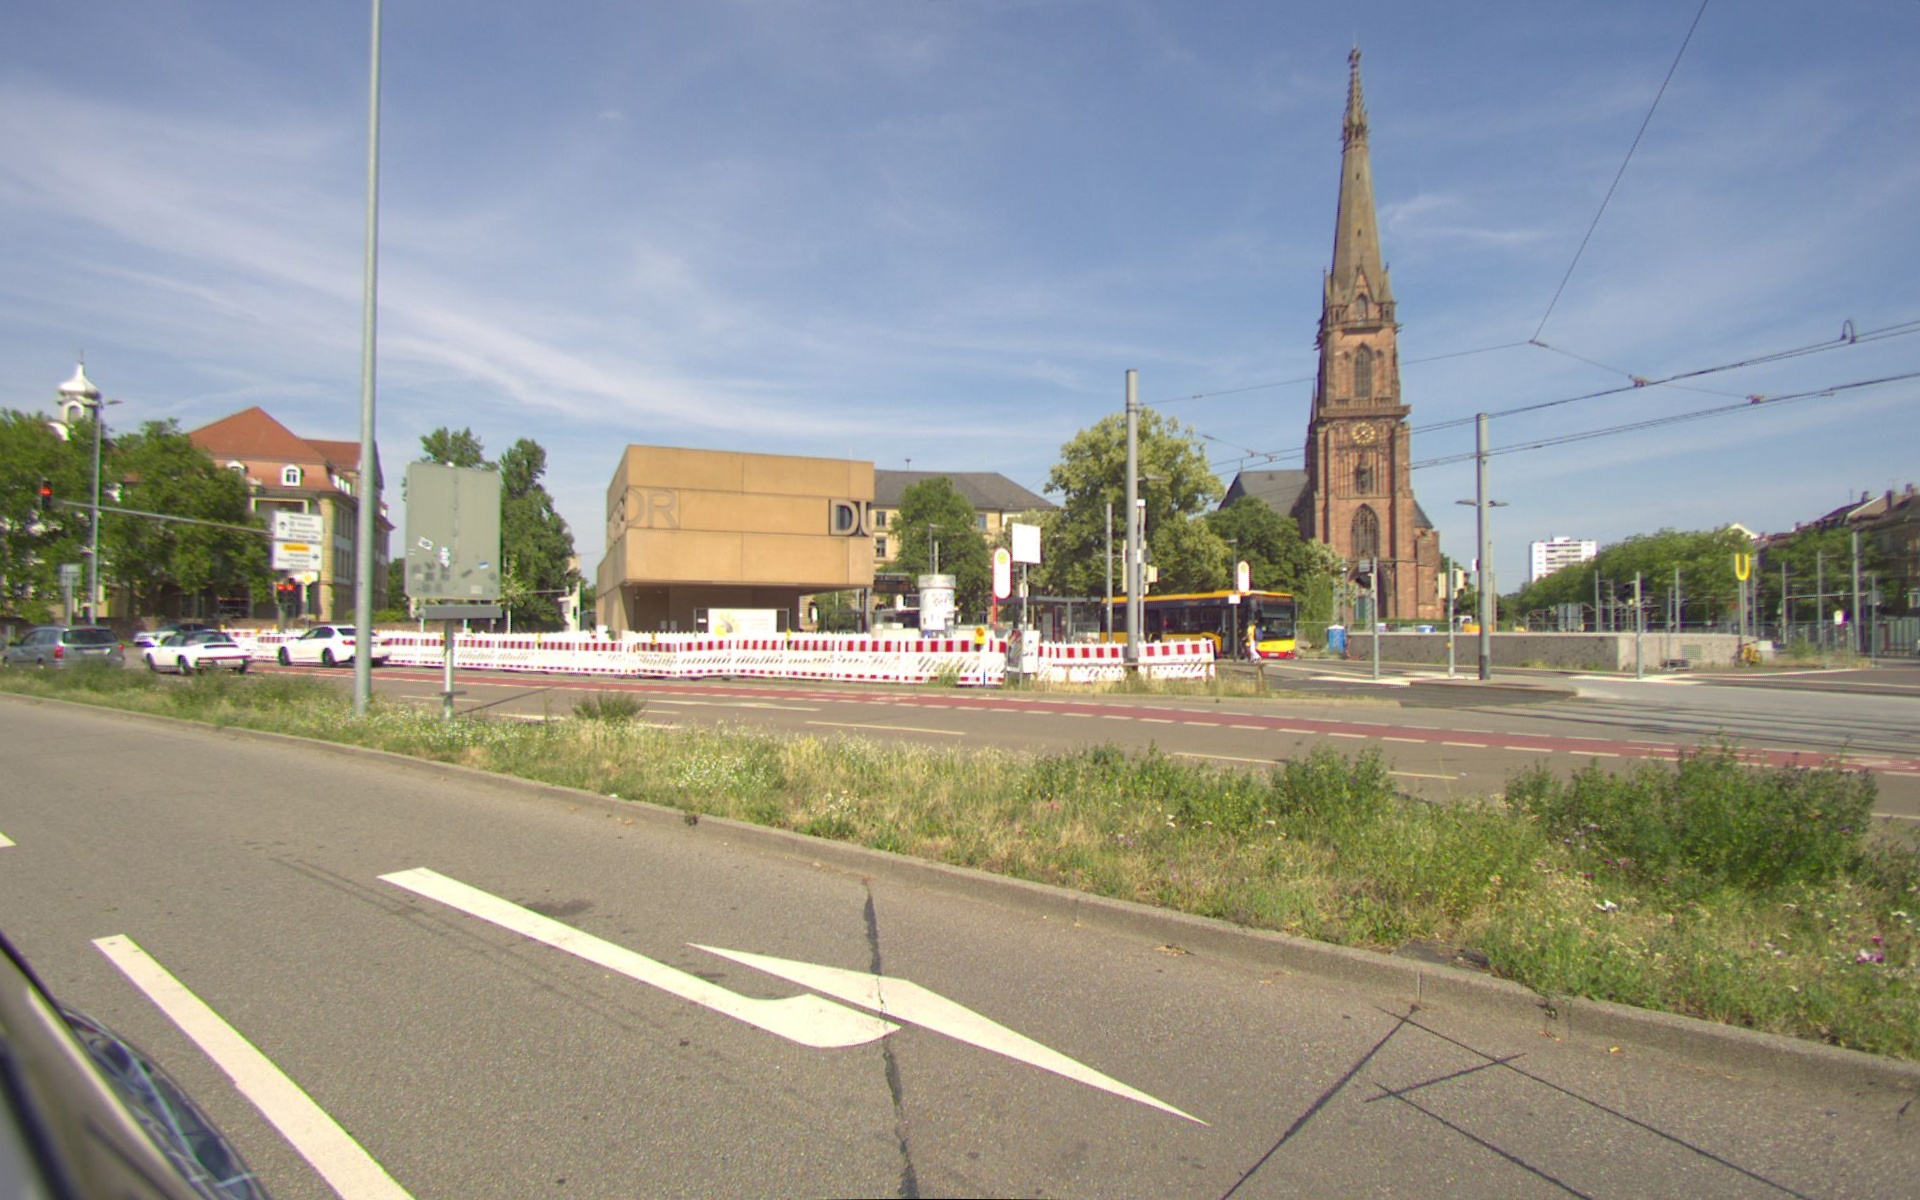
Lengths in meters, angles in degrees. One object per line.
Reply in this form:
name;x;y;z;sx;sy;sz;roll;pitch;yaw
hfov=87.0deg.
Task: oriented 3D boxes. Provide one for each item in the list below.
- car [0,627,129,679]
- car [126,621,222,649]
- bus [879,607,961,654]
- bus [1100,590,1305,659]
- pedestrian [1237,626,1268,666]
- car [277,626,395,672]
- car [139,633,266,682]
car;-24.689;1.409;27.805;3.984;1.296;1.583;-1;0;30
car;-44.239;1.938;57.083;1.743;1.454;4.093;-1;0;15
bus;-3.328;2.426;79.576;2.710;3.348;11.827;1;-2;-22
bus;10.503;1.004;45.989;2.711;2.703;11.828;-1;0;-22
pedestrian;10.480;1.649;36.286;0.911;1.377;0.532;-1;0;41
car;-21.388;1.625;34.670;3.984;1.431;1.785;-1;0;30
car;-22.420;1.648;29.930;3.984;1.296;1.583;-1;0;30
